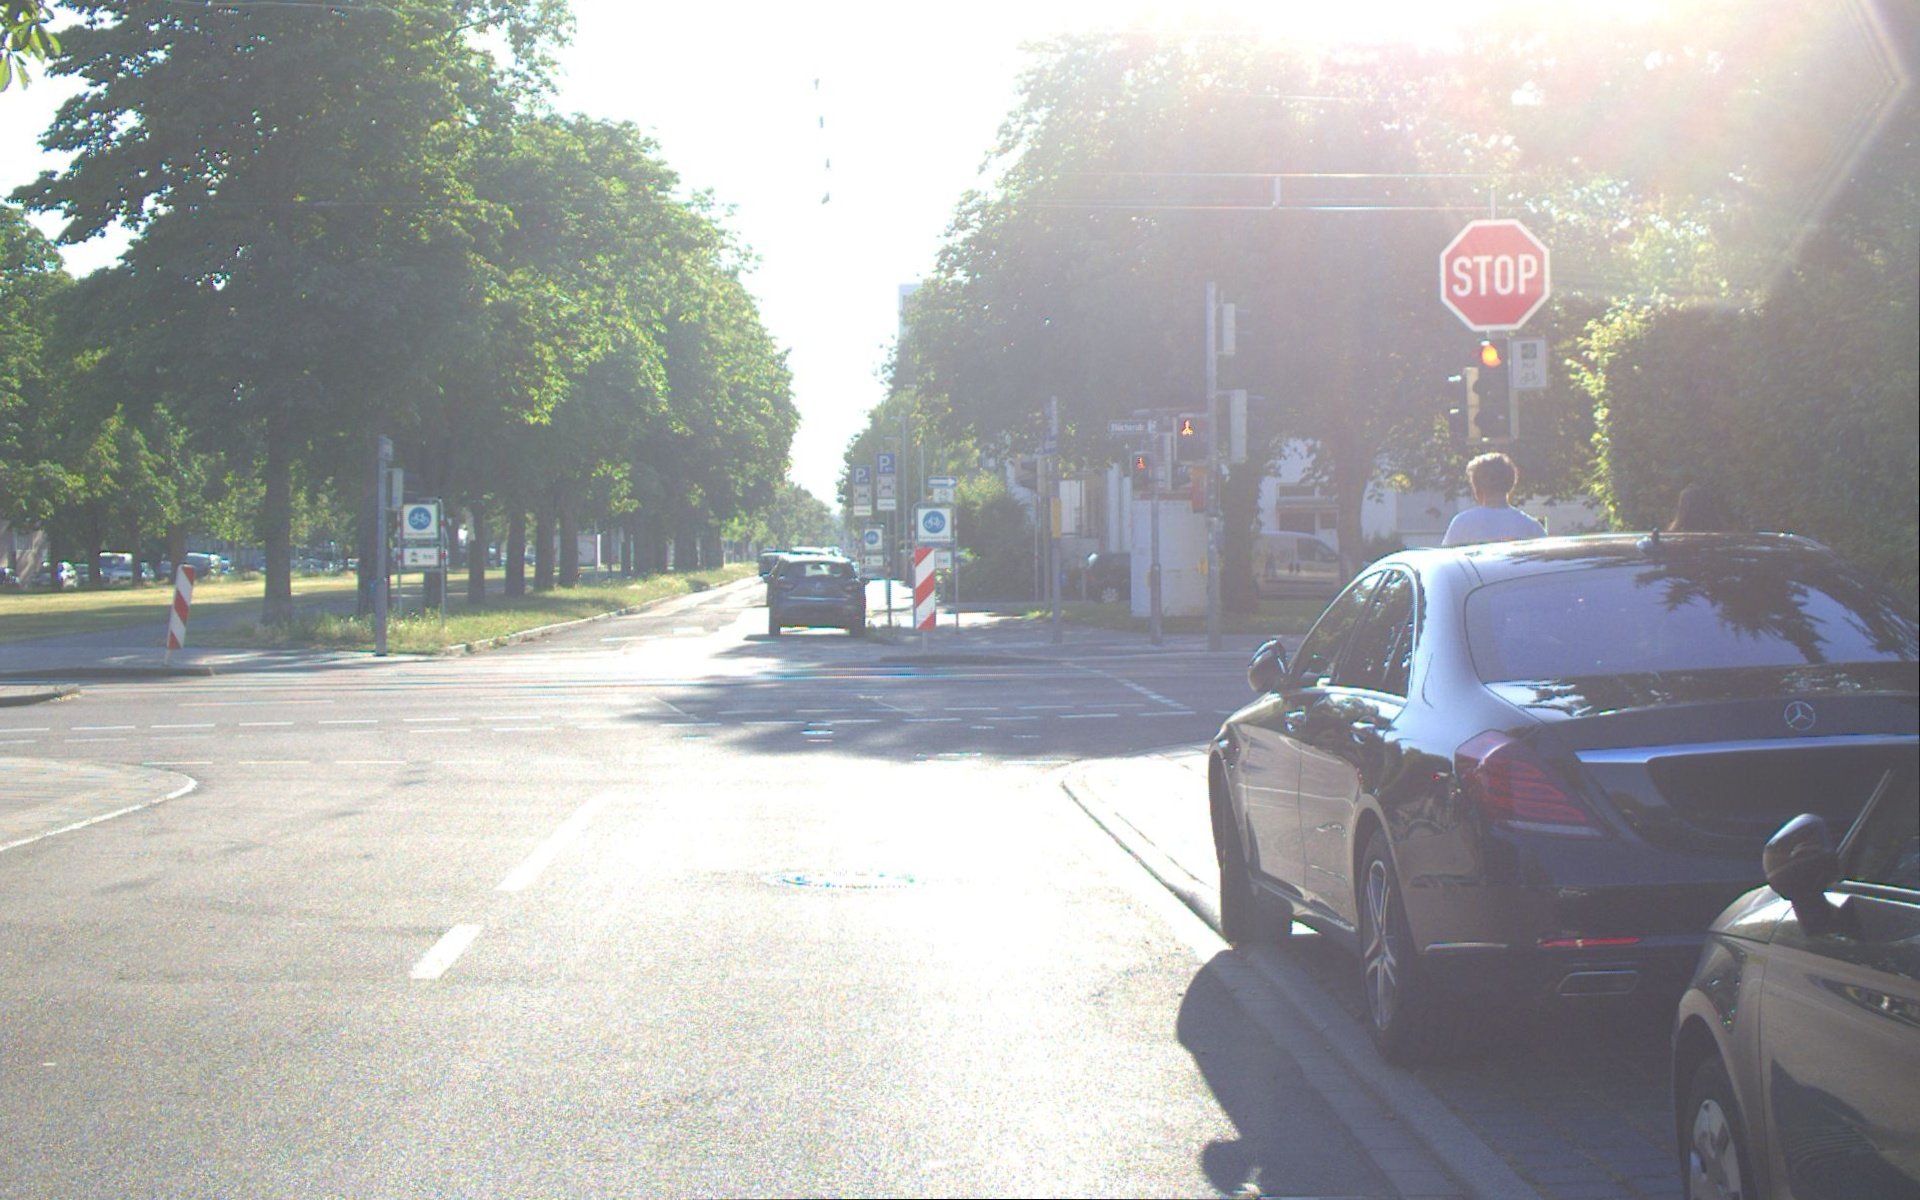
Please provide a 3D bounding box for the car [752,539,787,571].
[{"bbox_3d":[-12.342,-2.912,222.628,2.134,2.007,3.902,0,1,-1],"label":"car"}]

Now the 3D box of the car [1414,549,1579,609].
[{"bbox_3d":[12.958,-0.505,83.129,3.662,1.422,1.532,0,1,-6],"label":"car"}]

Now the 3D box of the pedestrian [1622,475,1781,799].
[{"bbox_3d":[3.966,0.193,18.415,0.669,1.702,0.623,0,1,-5],"label":"pedestrian"}]

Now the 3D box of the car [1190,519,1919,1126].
[{"bbox_3d":[1.995,0.535,11.193,1.859,1.537,4.874,0,1,-4],"label":"car"}]

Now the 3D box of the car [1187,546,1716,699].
[{"bbox_3d":[4.746,0.211,33.489,4.763,1.429,1.815,0,1,-10],"label":"car"}]

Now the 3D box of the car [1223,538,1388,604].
[{"bbox_3d":[8.337,-0.709,83.211,3.779,1.520,1.744,0,2,-2],"label":"car"}]

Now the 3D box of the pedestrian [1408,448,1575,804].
[{"bbox_3d":[2.849,0.134,18.493,0.670,1.859,0.882,1,0,-5],"label":"pedestrian"}]

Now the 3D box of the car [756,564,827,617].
[{"bbox_3d":[-4.654,-0.275,95.569,1.845,1.389,3.829,1,1,-1],"label":"car"}]

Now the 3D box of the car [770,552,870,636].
[{"bbox_3d":[-2.494,-0.127,61.805,1.641,1.446,3.307,0,1,0],"label":"car"}]

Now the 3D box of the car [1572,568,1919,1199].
[{"bbox_3d":[2.170,0.669,5.107,1.641,1.423,3.937,-2,1,-2],"label":"car"}]
